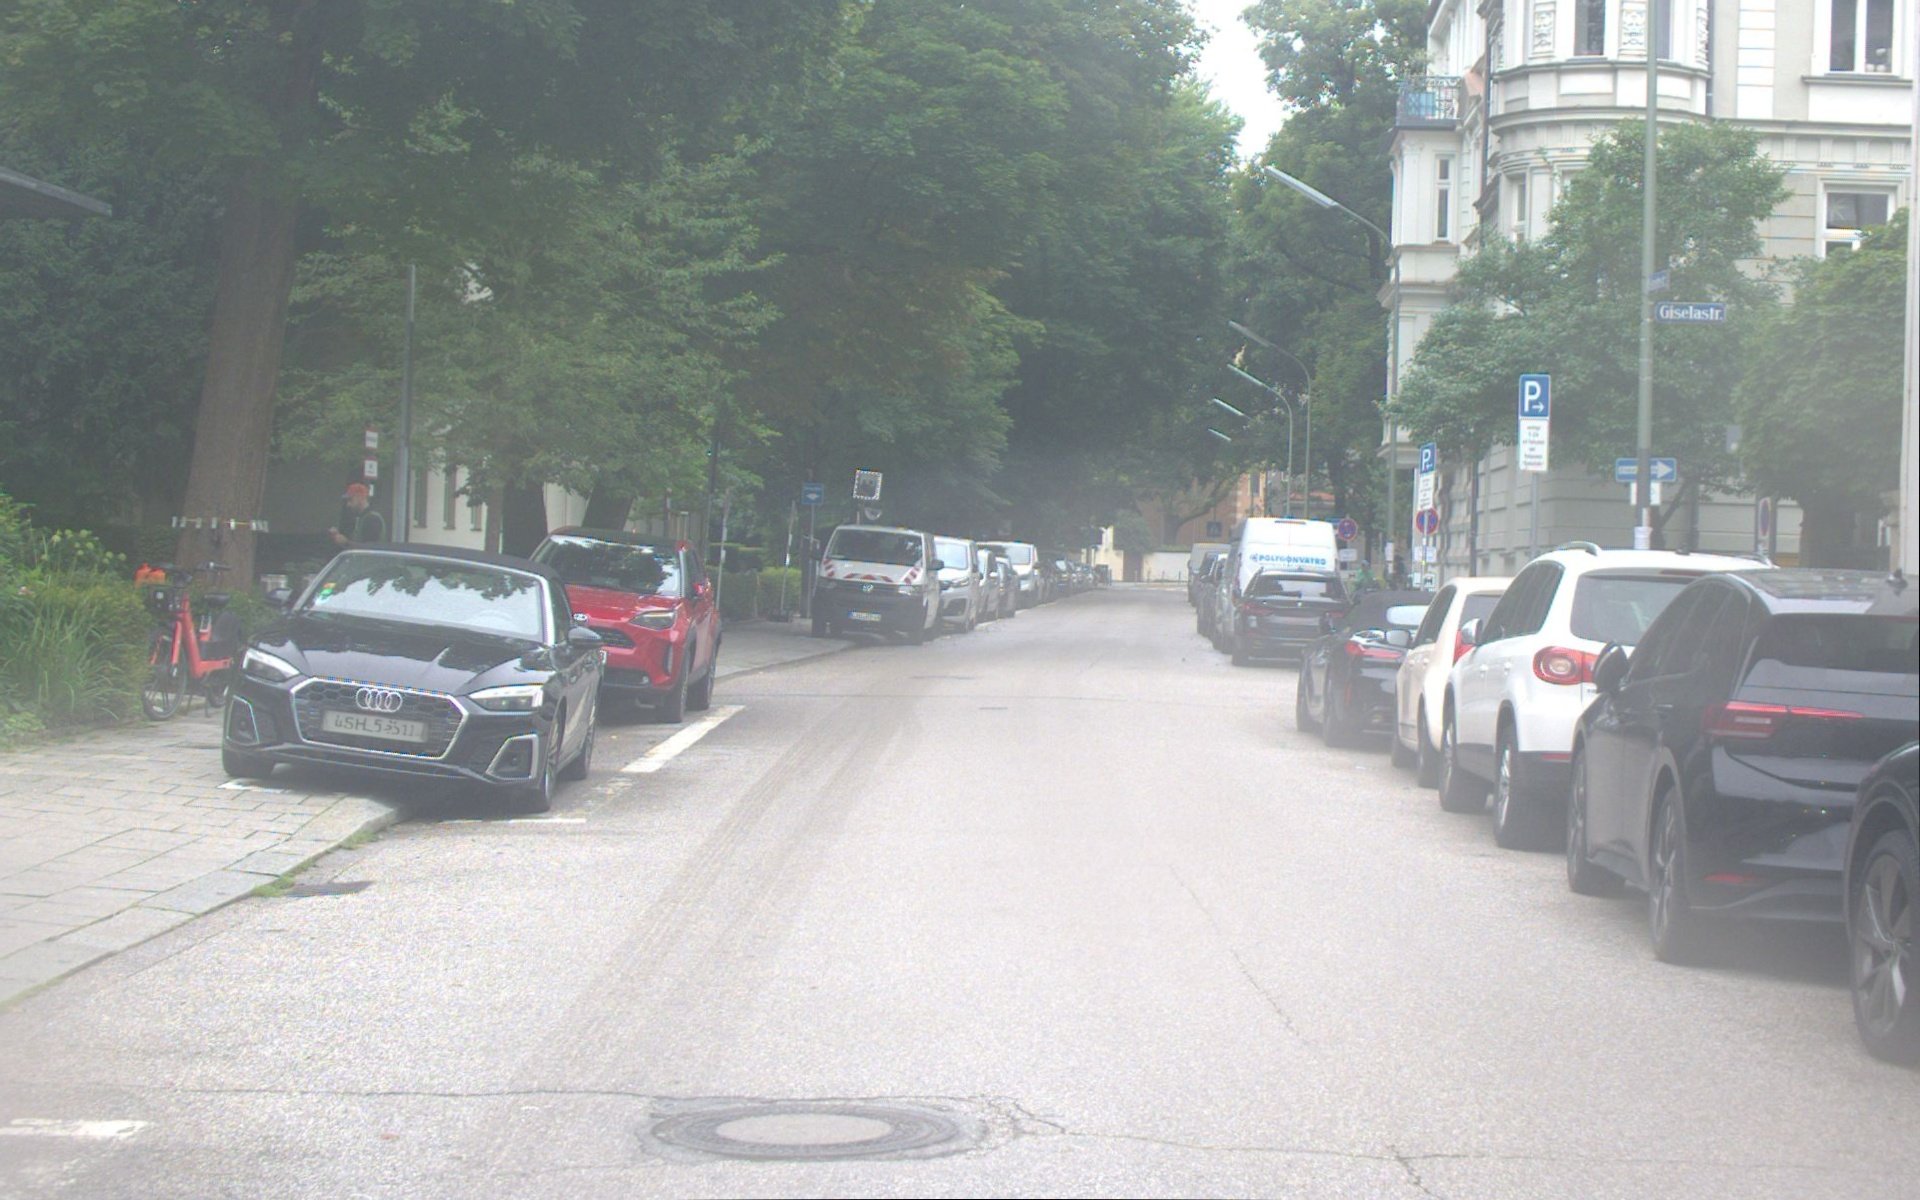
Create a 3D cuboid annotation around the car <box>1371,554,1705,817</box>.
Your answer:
[{"bbox_3d":[4.035,0.542,24.550,1.771,1.541,3.711,6,1,3],"label":"car"}]

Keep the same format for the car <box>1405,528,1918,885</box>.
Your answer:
[{"bbox_3d":[3.896,0.514,19.929,1.993,1.701,4.534,4,1,1],"label":"car"}]

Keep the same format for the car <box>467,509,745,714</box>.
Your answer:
[{"bbox_3d":[-3.061,0.069,30.617,1.887,1.585,4.528,3,1,0],"label":"car"}]

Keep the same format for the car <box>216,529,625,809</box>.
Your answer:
[{"bbox_3d":[-3.130,0.335,20.883,1.807,1.397,4.925,3,1,-2],"label":"car"}]

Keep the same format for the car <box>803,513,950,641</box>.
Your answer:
[{"bbox_3d":[-1.366,-0.406,58.738,2.247,1.950,5.454,3,1,0],"label":"car"}]

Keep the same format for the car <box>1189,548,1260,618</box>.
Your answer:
[{"bbox_3d":[7.829,-0.515,101.464,1.994,1.969,3.999,2,1,5],"label":"car"}]

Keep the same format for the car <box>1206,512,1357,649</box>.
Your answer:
[{"bbox_3d":[5.422,-0.329,58.483,2.204,2.201,4.855,1,0,1],"label":"car"}]

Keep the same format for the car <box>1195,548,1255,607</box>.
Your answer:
[{"bbox_3d":[9.312,-0.798,120.595,1.994,2.007,3.999,2,1,5],"label":"car"}]

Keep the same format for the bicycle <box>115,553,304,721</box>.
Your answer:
[{"bbox_3d":[-5.339,0.241,24.579,0.649,1.126,2.047,2,1,7],"label":"bicycle"}]

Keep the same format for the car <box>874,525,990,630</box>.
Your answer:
[{"bbox_3d":[-0.540,-0.467,70.431,2.183,1.950,5.167,3,1,0],"label":"car"}]

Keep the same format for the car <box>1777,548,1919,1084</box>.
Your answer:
[{"bbox_3d":[3.791,0.664,9.190,1.860,1.571,4.900,1,1,-2],"label":"car"}]

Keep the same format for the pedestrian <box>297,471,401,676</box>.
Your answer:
[{"bbox_3d":[-5.677,-0.250,31.989,0.712,1.846,0.797,3,0,1],"label":"pedestrian"}]

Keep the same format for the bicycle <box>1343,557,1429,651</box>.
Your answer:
[{"bbox_3d":[7.170,0.052,57.889,0.707,1.510,2.039,2,1,-14],"label":"bicycle"}]

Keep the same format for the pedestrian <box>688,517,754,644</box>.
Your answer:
[{"bbox_3d":[-3.002,-0.248,43.290,0.713,1.543,0.753,4,0,-3],"label":"pedestrian"}]

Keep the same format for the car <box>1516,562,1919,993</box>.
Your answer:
[{"bbox_3d":[3.597,0.627,14.632,1.838,1.526,4.415,1,1,2],"label":"car"}]

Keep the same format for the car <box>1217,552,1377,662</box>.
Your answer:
[{"bbox_3d":[5.024,0.091,51.534,2.273,1.541,4.586,1,0,5],"label":"car"}]

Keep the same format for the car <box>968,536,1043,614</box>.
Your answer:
[{"bbox_3d":[1.388,-0.770,103.377,2.002,2.179,4.696,3,1,2],"label":"car"}]

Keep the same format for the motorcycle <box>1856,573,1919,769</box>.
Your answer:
[{"bbox_3d":[7.507,0.536,25.614,0.857,1.428,2.707,2,1,-1],"label":"motorcycle"}]

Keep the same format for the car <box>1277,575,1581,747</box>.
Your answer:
[{"bbox_3d":[3.917,0.468,29.431,2.000,1.314,4.595,0,1,0],"label":"car"}]
